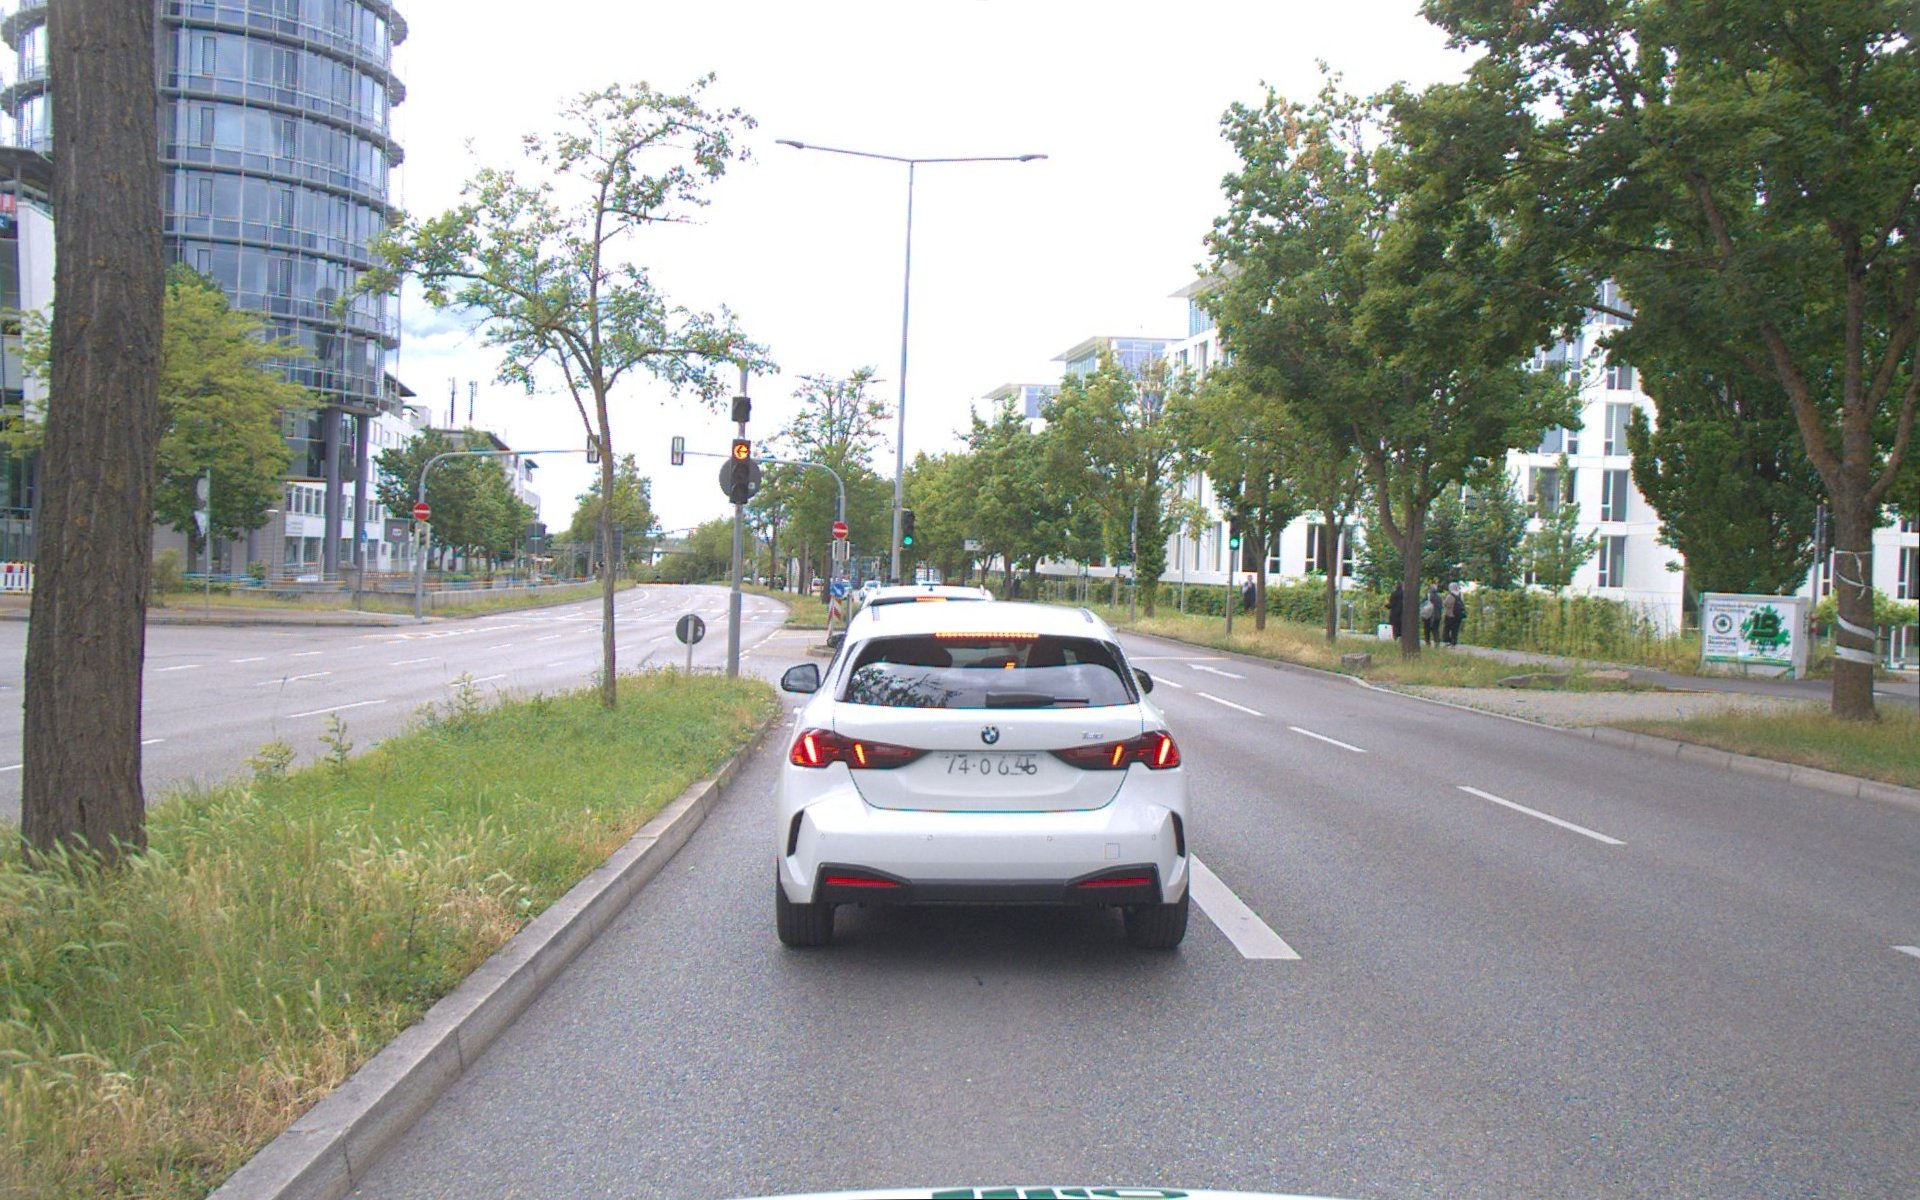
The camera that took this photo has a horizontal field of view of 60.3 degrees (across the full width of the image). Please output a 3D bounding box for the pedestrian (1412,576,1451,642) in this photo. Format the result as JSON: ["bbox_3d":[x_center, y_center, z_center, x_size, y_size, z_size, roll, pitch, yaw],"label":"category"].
[{"bbox_3d":[11.762,0.215,41.270,0.685,1.623,0.883,1,-1,-2],"label":"pedestrian"}]

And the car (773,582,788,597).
[{"bbox_3d":[-20.891,-1.268,192.540,1.570,1.695,3.997,1,0,-4],"label":"car"}]

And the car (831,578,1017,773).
[{"bbox_3d":[-0.328,0.625,15.838,1.518,1.596,3.999,1,0,-1],"label":"car"}]

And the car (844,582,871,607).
[{"bbox_3d":[-7.442,-0.375,119.612,1.663,1.747,3.994,1,0,-7],"label":"car"}]

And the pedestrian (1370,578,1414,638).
[{"bbox_3d":[10.856,0.201,41.610,0.773,1.473,1.111,1,0,-2],"label":"pedestrian"}]

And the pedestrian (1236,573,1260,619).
[{"bbox_3d":[10.278,-0.145,59.020,0.726,1.601,0.674,1,-1,-2],"label":"pedestrian"}]

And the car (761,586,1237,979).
[{"bbox_3d":[0.124,0.691,8.326,1.785,1.463,3.999,1,0,-1],"label":"car"}]

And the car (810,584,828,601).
[{"bbox_3d":[-14.718,-0.797,172.862,1.705,1.695,3.997,1,0,-4],"label":"car"}]

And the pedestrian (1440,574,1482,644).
[{"bbox_3d":[12.526,0.228,41.340,0.751,1.715,0.883,1,-1,-2],"label":"pedestrian"}]

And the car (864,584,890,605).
[{"bbox_3d":[-6.408,-0.447,126.830,1.661,1.512,3.687,1,0,-8],"label":"car"}]

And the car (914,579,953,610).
[{"bbox_3d":[-1.512,-0.302,91.756,1.954,1.699,3.997,0,0,-4],"label":"car"}]
